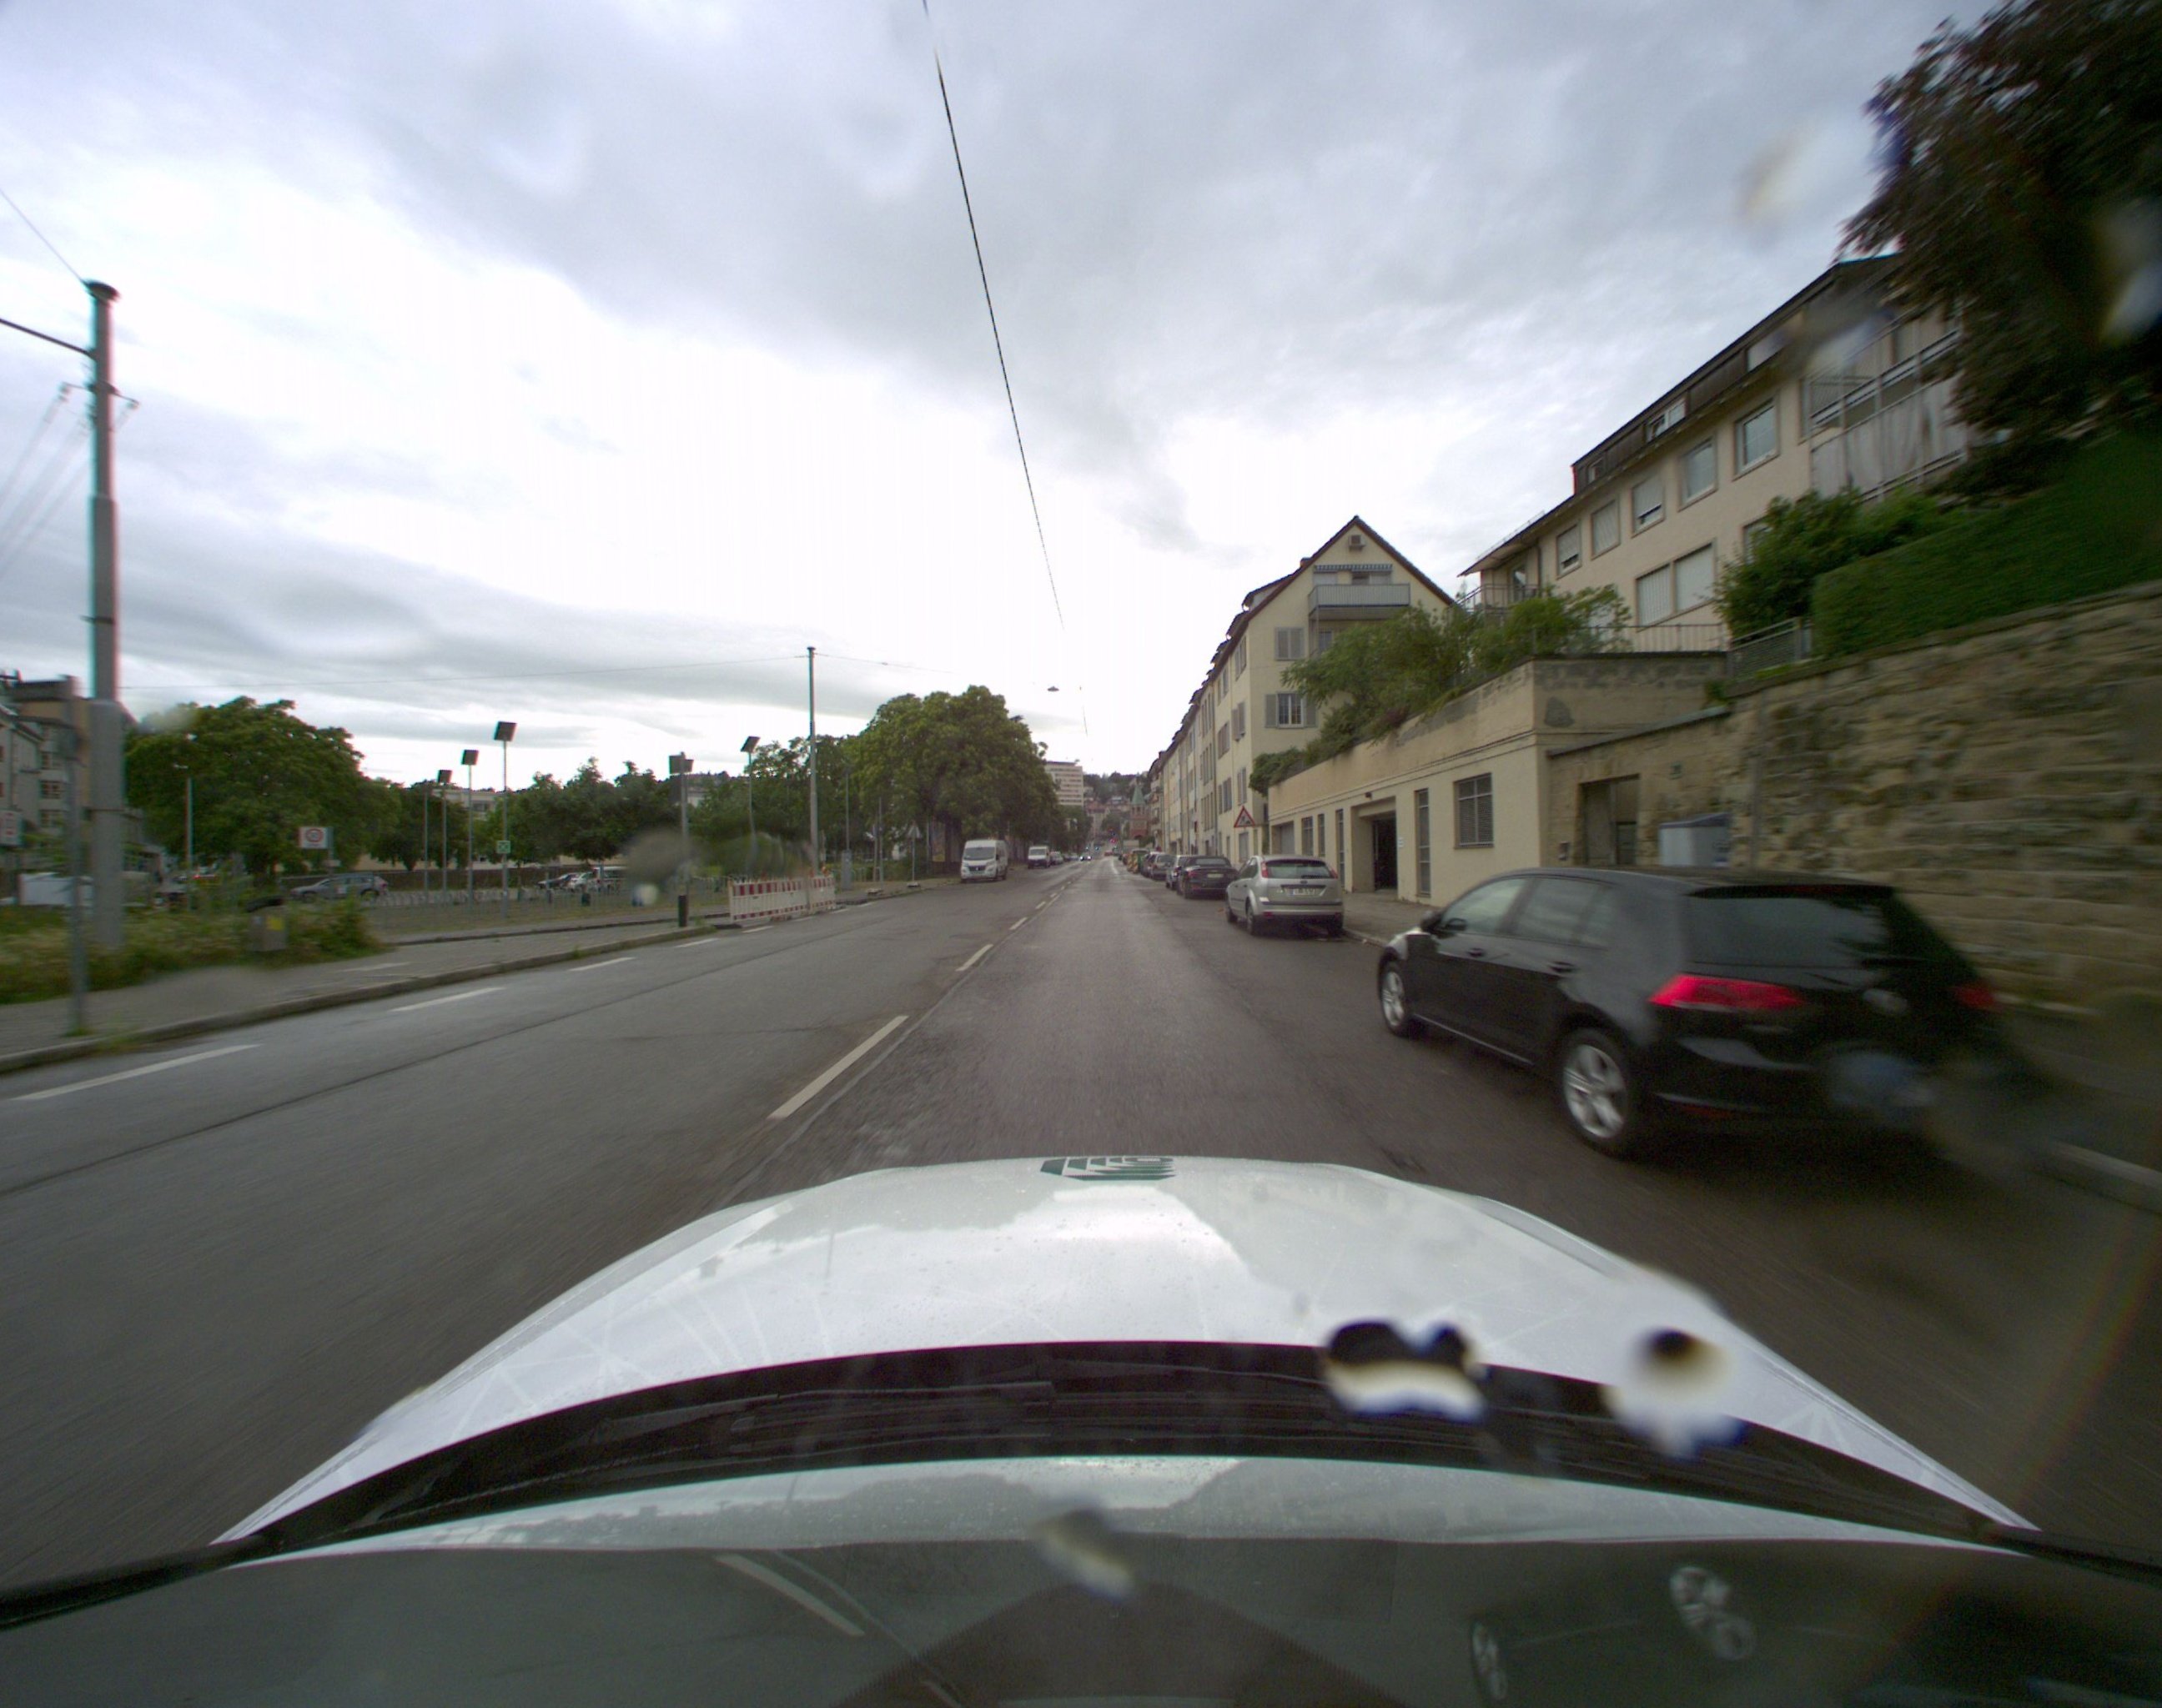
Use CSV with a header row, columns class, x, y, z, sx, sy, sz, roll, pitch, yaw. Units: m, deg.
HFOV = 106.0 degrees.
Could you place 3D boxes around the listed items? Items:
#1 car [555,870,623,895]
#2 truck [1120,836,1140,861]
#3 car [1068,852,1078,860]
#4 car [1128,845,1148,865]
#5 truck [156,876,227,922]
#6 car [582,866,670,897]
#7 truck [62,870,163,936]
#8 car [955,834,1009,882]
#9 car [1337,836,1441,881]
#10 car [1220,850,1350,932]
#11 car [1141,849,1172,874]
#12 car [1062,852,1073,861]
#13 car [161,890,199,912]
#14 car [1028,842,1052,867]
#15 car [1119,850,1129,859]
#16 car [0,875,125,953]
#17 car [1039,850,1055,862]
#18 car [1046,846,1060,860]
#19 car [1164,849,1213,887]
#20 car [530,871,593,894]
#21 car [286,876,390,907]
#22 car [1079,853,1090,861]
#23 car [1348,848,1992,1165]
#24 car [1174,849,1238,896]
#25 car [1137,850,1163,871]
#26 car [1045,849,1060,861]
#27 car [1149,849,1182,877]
class,x,y,z,sx,sy,sz,roll,pitch,yaw
car,-37.234,2.119,61.733,1.777,1.625,4.025,-2,0,43
truck,6.452,-0.684,107.280,2.460,3.172,7.040,-1,0,2
car,-1.562,0.412,158.903,1.704,1.450,4.294,-2,0,1
car,5.661,0.064,81.194,1.810,1.924,4.241,-2,0,2
truck,-115.378,5.717,105.906,15.506,5.143,5.645,-3,1,44
car,-30.414,1.808,54.560,1.975,1.834,4.721,-2,0,43
truck,-49.052,2.434,41.385,5.223,2.931,2.797,-3,1,44
car,-5.794,0.180,48.704,2.222,2.578,6.539,-3,0,1
car,10.367,0.145,27.758,1.881,1.401,4.201,-1,0,-1
car,3.990,0.684,16.597,1.682,1.454,4.236,0,-1,1
car,4.763,0.435,51.865,1.710,1.524,4.001,0,1,1
car,-2.388,0.450,143.707,1.797,1.450,4.656,-2,0,0
car,-71.341,3.706,64.516,3.949,1.510,1.811,-3,1,44
car,-4.359,0.055,87.418,2.004,2.487,5.987,-2,0,2
car,8.059,0.020,153.123,1.811,1.652,4.077,0,0,1
car,-37.671,2.145,30.092,5.660,2.413,2.691,-3,1,43
car,-4.276,0.236,102.846,1.676,1.398,3.911,-2,0,1
car,-3.931,-0.140,116.015,1.717,1.800,4.345,-2,0,1
car,4.404,0.540,33.843,1.623,1.453,3.760,0,1,1
car,-42.753,2.307,67.053,1.777,1.625,4.025,-2,0,43
car,-48.671,2.442,53.435,4.934,1.625,2.099,-3,-2,-44
car,0.633,0.529,145.850,1.799,1.415,4.383,-1,0,0
car,3.437,0.695,5.911,1.682,1.453,4.236,0,1,1
car,4.121,0.567,27.271,1.623,1.453,3.760,0,1,1
car,4.841,0.415,57.586,1.620,1.411,3.844,0,1,2
car,-3.834,0.180,109.653,1.676,1.462,4.277,-2,0,1
car,4.763,0.480,46.428,1.553,1.453,3.760,0,1,1
